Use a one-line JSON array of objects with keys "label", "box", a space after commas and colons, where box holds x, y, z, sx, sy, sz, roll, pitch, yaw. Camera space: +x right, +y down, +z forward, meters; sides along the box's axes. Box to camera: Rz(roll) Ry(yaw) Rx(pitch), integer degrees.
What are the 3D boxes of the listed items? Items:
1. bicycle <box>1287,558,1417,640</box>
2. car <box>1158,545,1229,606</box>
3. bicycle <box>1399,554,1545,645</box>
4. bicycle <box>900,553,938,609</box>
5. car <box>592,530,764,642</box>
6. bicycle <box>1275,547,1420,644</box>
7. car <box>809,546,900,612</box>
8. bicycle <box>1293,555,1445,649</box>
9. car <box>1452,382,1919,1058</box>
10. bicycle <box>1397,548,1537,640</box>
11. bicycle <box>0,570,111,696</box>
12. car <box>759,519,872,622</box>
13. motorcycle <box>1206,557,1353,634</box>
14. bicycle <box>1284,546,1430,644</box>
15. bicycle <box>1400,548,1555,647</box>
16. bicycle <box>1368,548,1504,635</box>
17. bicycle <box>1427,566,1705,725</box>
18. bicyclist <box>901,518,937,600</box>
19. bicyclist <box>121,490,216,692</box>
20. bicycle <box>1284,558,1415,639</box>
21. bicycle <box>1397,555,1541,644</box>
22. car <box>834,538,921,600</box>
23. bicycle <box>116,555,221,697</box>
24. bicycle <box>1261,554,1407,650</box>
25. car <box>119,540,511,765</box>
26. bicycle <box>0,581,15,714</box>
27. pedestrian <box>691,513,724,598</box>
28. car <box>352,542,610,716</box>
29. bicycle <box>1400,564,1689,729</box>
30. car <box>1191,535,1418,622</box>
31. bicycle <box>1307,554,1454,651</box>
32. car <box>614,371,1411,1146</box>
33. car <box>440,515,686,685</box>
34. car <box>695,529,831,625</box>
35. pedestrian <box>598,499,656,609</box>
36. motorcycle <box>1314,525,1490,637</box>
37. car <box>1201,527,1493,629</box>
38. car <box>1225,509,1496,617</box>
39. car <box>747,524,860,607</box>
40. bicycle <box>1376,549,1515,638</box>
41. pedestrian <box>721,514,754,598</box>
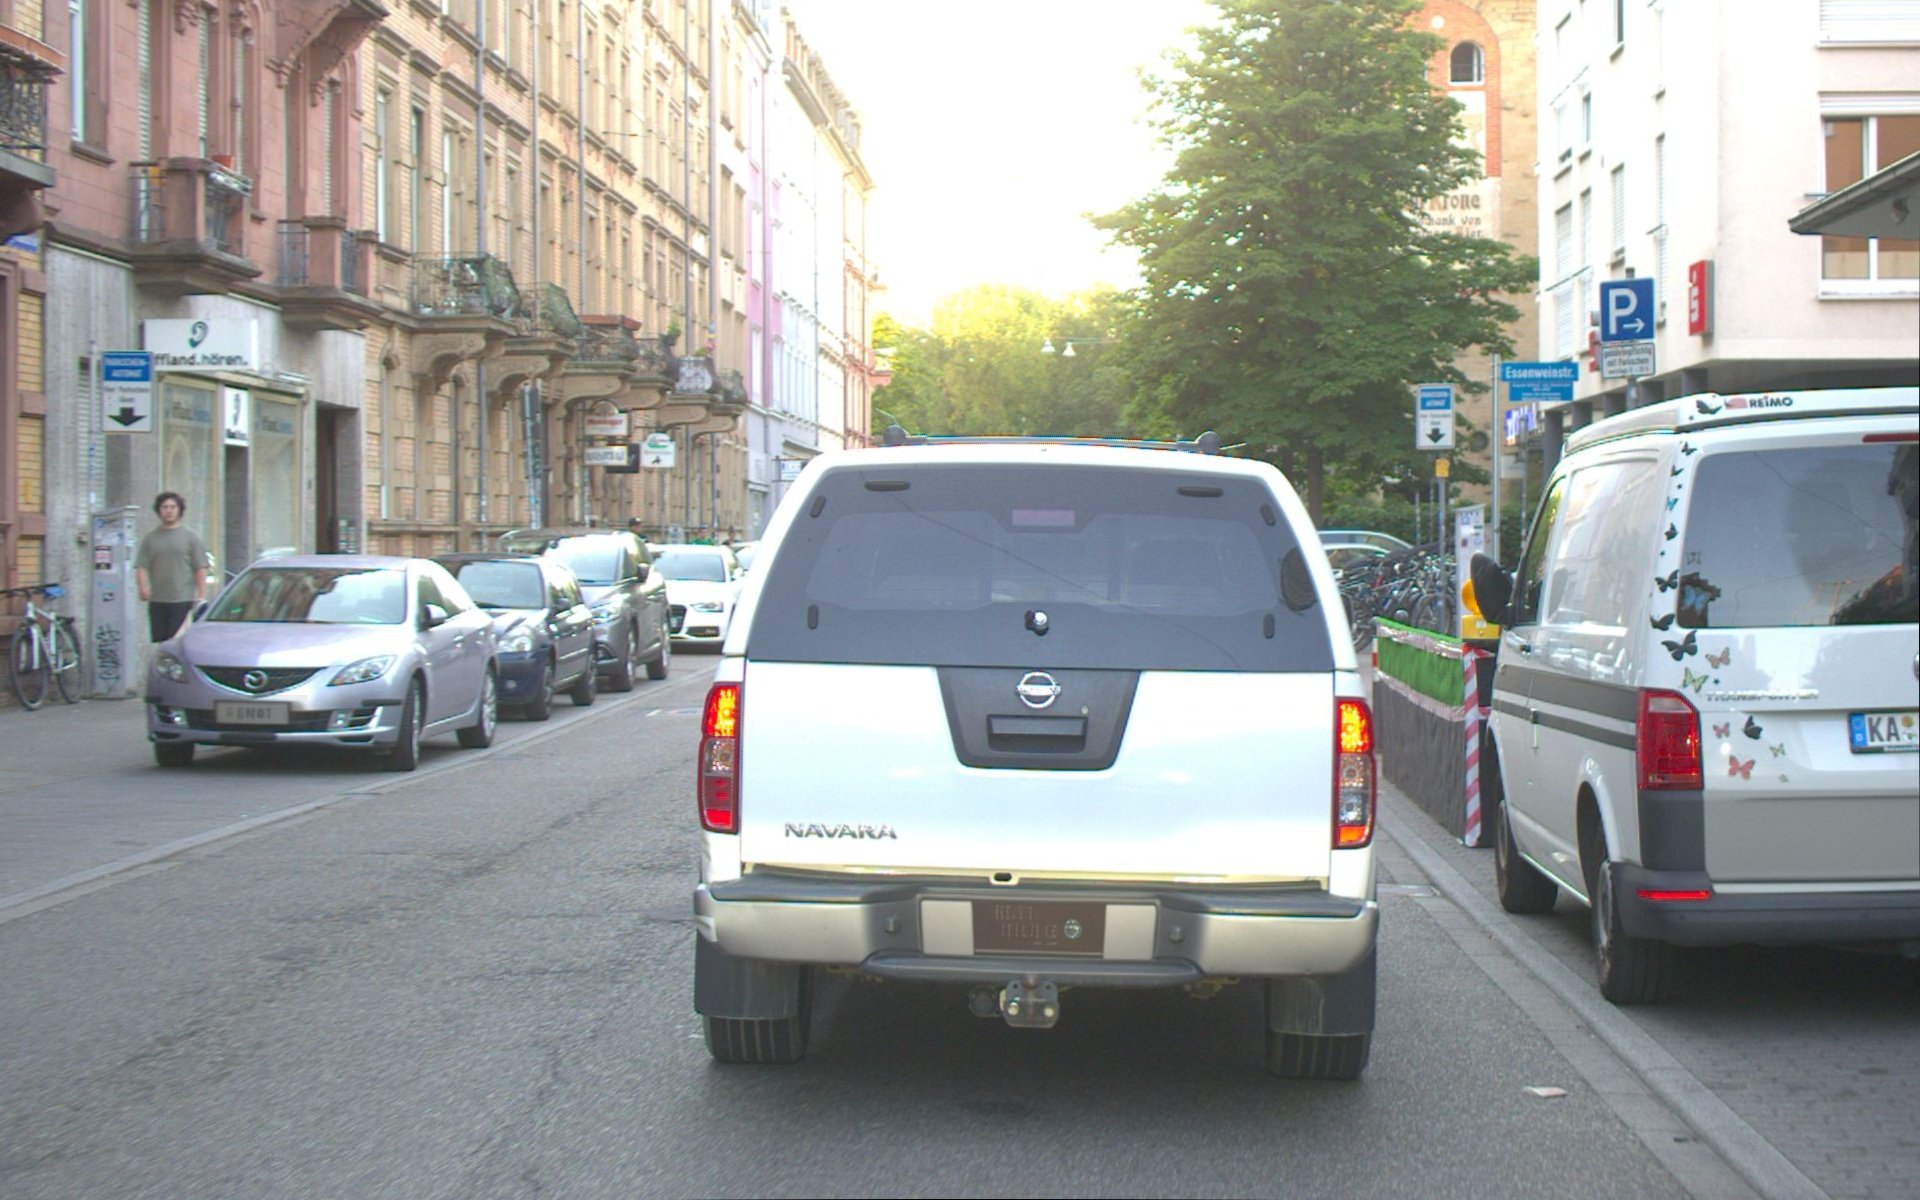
[{"label": "bicycle", "box": [5.473, -0.014, 48.058, 1.720, 1.028, 0.667, -4, 0, 6]}, {"label": "car", "box": [5.997, -0.650, 88.542, 1.676, 1.424, 4.478, -4, 1, 3]}, {"label": "bicycle", "box": [6.328, -0.009, 42.584, 1.723, 1.050, 0.653, -2, 0, 6]}, {"label": "bicycle", "box": [-0.813, -0.384, 69.100, 0.645, 1.077, 2.168, -2, 1, 1]}, {"label": "car", "box": [-3.760, -0.226, 46.561, 1.758, 1.407, 4.508, 1, 1, 2]}, {"label": "bicycle", "box": [5.265, -0.065, 46.697, 1.869, 1.178, 0.742, -4, 0, 8]}, {"label": "car", "box": [-2.379, -0.481, 78.299, 1.737, 1.413, 4.778, 2, 0, 2]}, {"label": "bicycle", "box": [5.189, 0.021, 43.692, 1.809, 1.114, 0.707, -2, 0, 1]}, {"label": "car", "box": [3.053, 0.281, 12.595, 1.959, 1.967, 5.002, -2, 1, 3]}, {"label": "bicycle", "box": [6.544, -0.078, 44.404, 1.723, 1.114, 0.653, -2, 0, 6]}, {"label": "bicycle", "box": [-7.882, 0.266, 29.814, 0.449, 1.019, 1.848, 3, 1, 3]}, {"label": "car", "box": [-2.856, -0.613, 68.869, 1.993, 1.917, 4.951, 2, 1, 0]}, {"label": "motorcycle", "box": [4.812, -0.076, 51.778, 2.057, 1.074, 0.664, -2, 0, -13]}, {"label": "bicycle", "box": [5.297, -0.066, 45.851, 1.789, 1.178, 0.733, -4, 0, 13]}, {"label": "bicycle", "box": [6.249, -0.030, 41.561, 1.722, 1.128, 0.579, -2, 0, -9]}, {"label": "bicycle", "box": [6.474, -0.116, 46.783, 1.722, 1.114, 0.654, -2, 0, 0]}, {"label": "bicycle", "box": [4.515, 0.348, 25.691, 1.943, 1.131, 0.656, -2, 0, 40]}, {"label": "bicyclist", "box": [-0.820, -0.827, 69.106, 0.645, 1.615, 0.918, -2, 1, 1]}, {"label": "bicyclist", "box": [-6.888, -0.077, 29.899, 0.708, 1.724, 0.843, 1, 0, -19]}, {"label": "bicycle", "box": [5.513, -0.022, 48.676, 1.773, 1.019, 0.565, -4, 0, 6]}, {"label": "bicycle", "box": [6.393, -0.013, 43.253, 1.723, 1.050, 0.653, -2, 0, 6]}, {"label": "car", "box": [-2.064, -0.808, 87.146, 1.834, 1.453, 4.206, 3, 1, 3]}, {"label": "bicycle", "box": [-6.888, 0.219, 29.870, 0.708, 1.192, 1.742, 1, 0, -19]}, {"label": "bicycle", "box": [4.664, 0.023, 42.928, 1.722, 1.114, 0.707, -2, 0, 1]}, {"label": "car", "box": [-4.447, 0.307, 24.375, 1.723, 1.416, 4.582, 1, 1, 2]}, {"label": "bicycle", "box": [-7.821, 0.383, 26.355, 0.549, 1.034, 1.759, 3, 1, 3]}, {"label": "pedestrian", "box": [-5.372, -0.952, 73.148, 0.580, 1.765, 0.998, 3, 2, -2]}, {"label": "car", "box": [-4.212, 0.210, 30.701, 1.585, 1.416, 3.696, 1, 1, 3]}, {"label": "bicycle", "box": [4.196, 0.344, 24.764, 1.943, 1.131, 0.656, -2, 0, 40]}, {"label": "car", "box": [6.364, -0.409, 63.749, 3.987, 1.451, 1.828, -2, 1, 0]}, {"label": "bicycle", "box": [5.132, 0.024, 42.043, 1.723, 1.114, 0.707, -2, 0, 6]}, {"label": "car", "box": [0.291, 0.359, 11.026, 1.911, 1.847, 5.270, 1, 1, 4]}, {"label": "car", "box": [-4.058, -0.051, 35.836, 1.853, 1.628, 4.445, 1, 1, 2]}, {"label": "car", "box": [-3.163, -0.397, 55.878, 1.717, 1.452, 4.000, 2, 1, 4]}, {"label": "pedestrian", "box": [-5.361, -0.730, 55.423, 0.554, 1.749, 1.021, 0, 0, 18]}, {"label": "motorcycle", "box": [6.518, -0.276, 50.785, 2.492, 1.544, 0.824, -2, 0, 6]}, {"label": "car", "box": [6.258, -0.370, 55.811, 4.422, 1.450, 1.780, -2, 1, -3]}, {"label": "car", "box": [6.789, -0.635, 58.548, 4.399, 1.642, 1.746, -2, 1, 2]}, {"label": "car", "box": [-2.866, -0.655, 63.752, 1.784, 1.418, 4.485, 2, 1, 1]}, {"label": "bicycle", "box": [6.497, -0.090, 46.060, 1.722, 1.114, 0.654, -2, 0, 0]}, {"label": "pedestrian", "box": [-4.746, -0.943, 73.360, 0.605, 1.766, 0.777, 3, 2, -2]}]
